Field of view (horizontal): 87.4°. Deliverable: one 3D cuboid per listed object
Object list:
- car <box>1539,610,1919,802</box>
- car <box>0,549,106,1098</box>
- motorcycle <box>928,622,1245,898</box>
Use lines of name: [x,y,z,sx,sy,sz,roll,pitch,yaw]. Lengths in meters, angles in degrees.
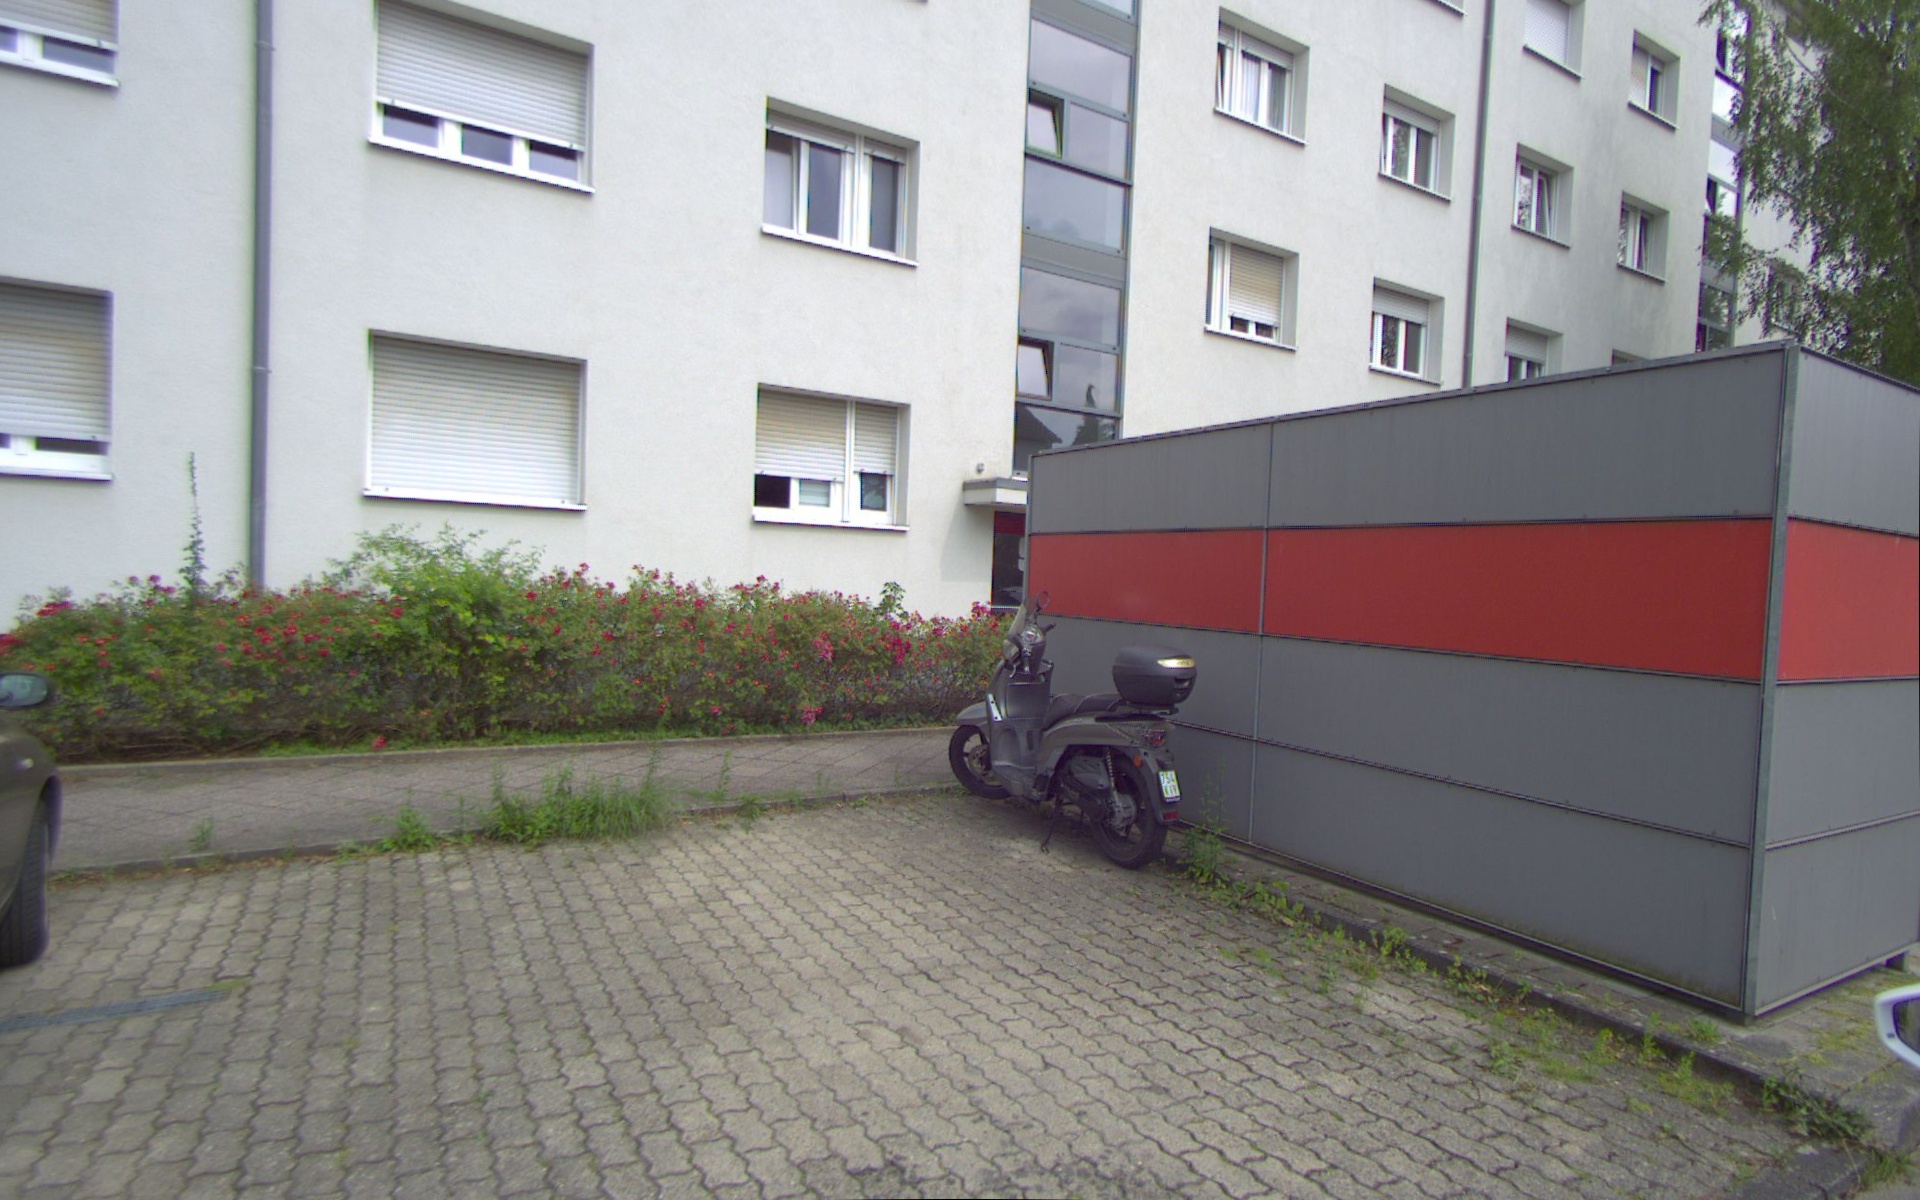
car: [7.928,0.888,9.035,1.904,1.394,4.294,1,1,-36]
car: [-3.340,0.593,2.313,1.693,1.500,3.539,1,1,-34]
motorcycle: [0.603,0.772,5.763,0.628,1.152,2.130,-1,3,-30]
